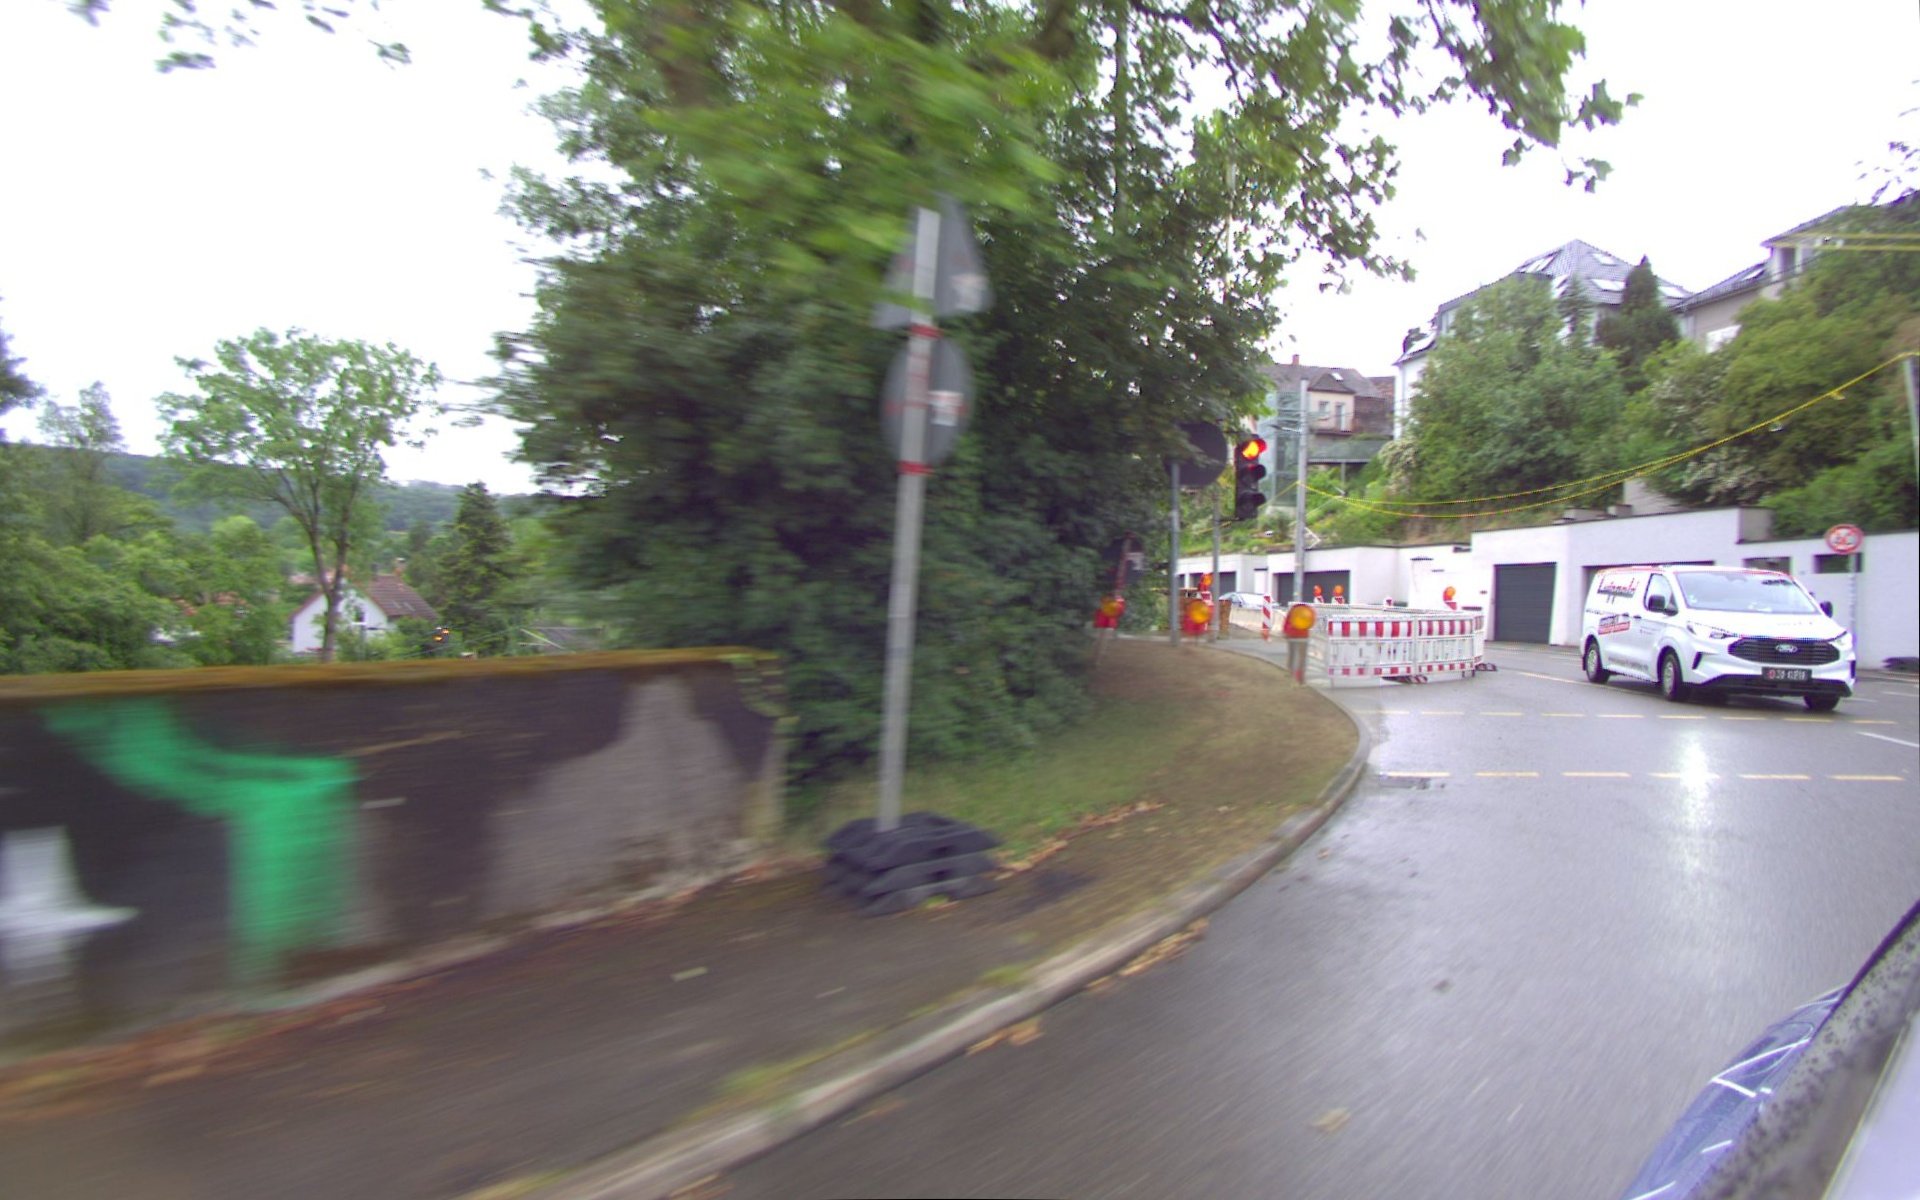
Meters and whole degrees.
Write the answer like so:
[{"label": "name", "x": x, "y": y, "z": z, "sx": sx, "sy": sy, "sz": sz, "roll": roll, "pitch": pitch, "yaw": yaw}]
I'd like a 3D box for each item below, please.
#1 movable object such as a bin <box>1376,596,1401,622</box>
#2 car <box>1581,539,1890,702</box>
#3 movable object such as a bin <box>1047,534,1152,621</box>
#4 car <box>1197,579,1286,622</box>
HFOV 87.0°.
[{"label": "movable object such as a bin", "x": 16.439, "y": 0.342, "z": 38.828, "sx": 0.498, "sy": 0.942, "sz": 0.770, "roll": 1, "pitch": 1, "yaw": -9}, {"label": "car", "x": 11.348, "y": 0.204, "z": 15.332, "sx": 1.972, "sy": 2.038, "sz": 4.925, "roll": -2, "pitch": 1, "yaw": 16}, {"label": "movable object such as a bin", "x": 5.264, "y": -0.881, "z": 39.086, "sx": 2.482, "sy": 3.105, "sz": 4.868, "roll": 1, "pitch": 2, "yaw": -11}, {"label": "car", "x": 11.225, "y": 0.001, "z": 40.613, "sx": 1.959, "sy": 1.605, "sz": 4.006, "roll": 0, "pitch": 0, "yaw": -8}]
